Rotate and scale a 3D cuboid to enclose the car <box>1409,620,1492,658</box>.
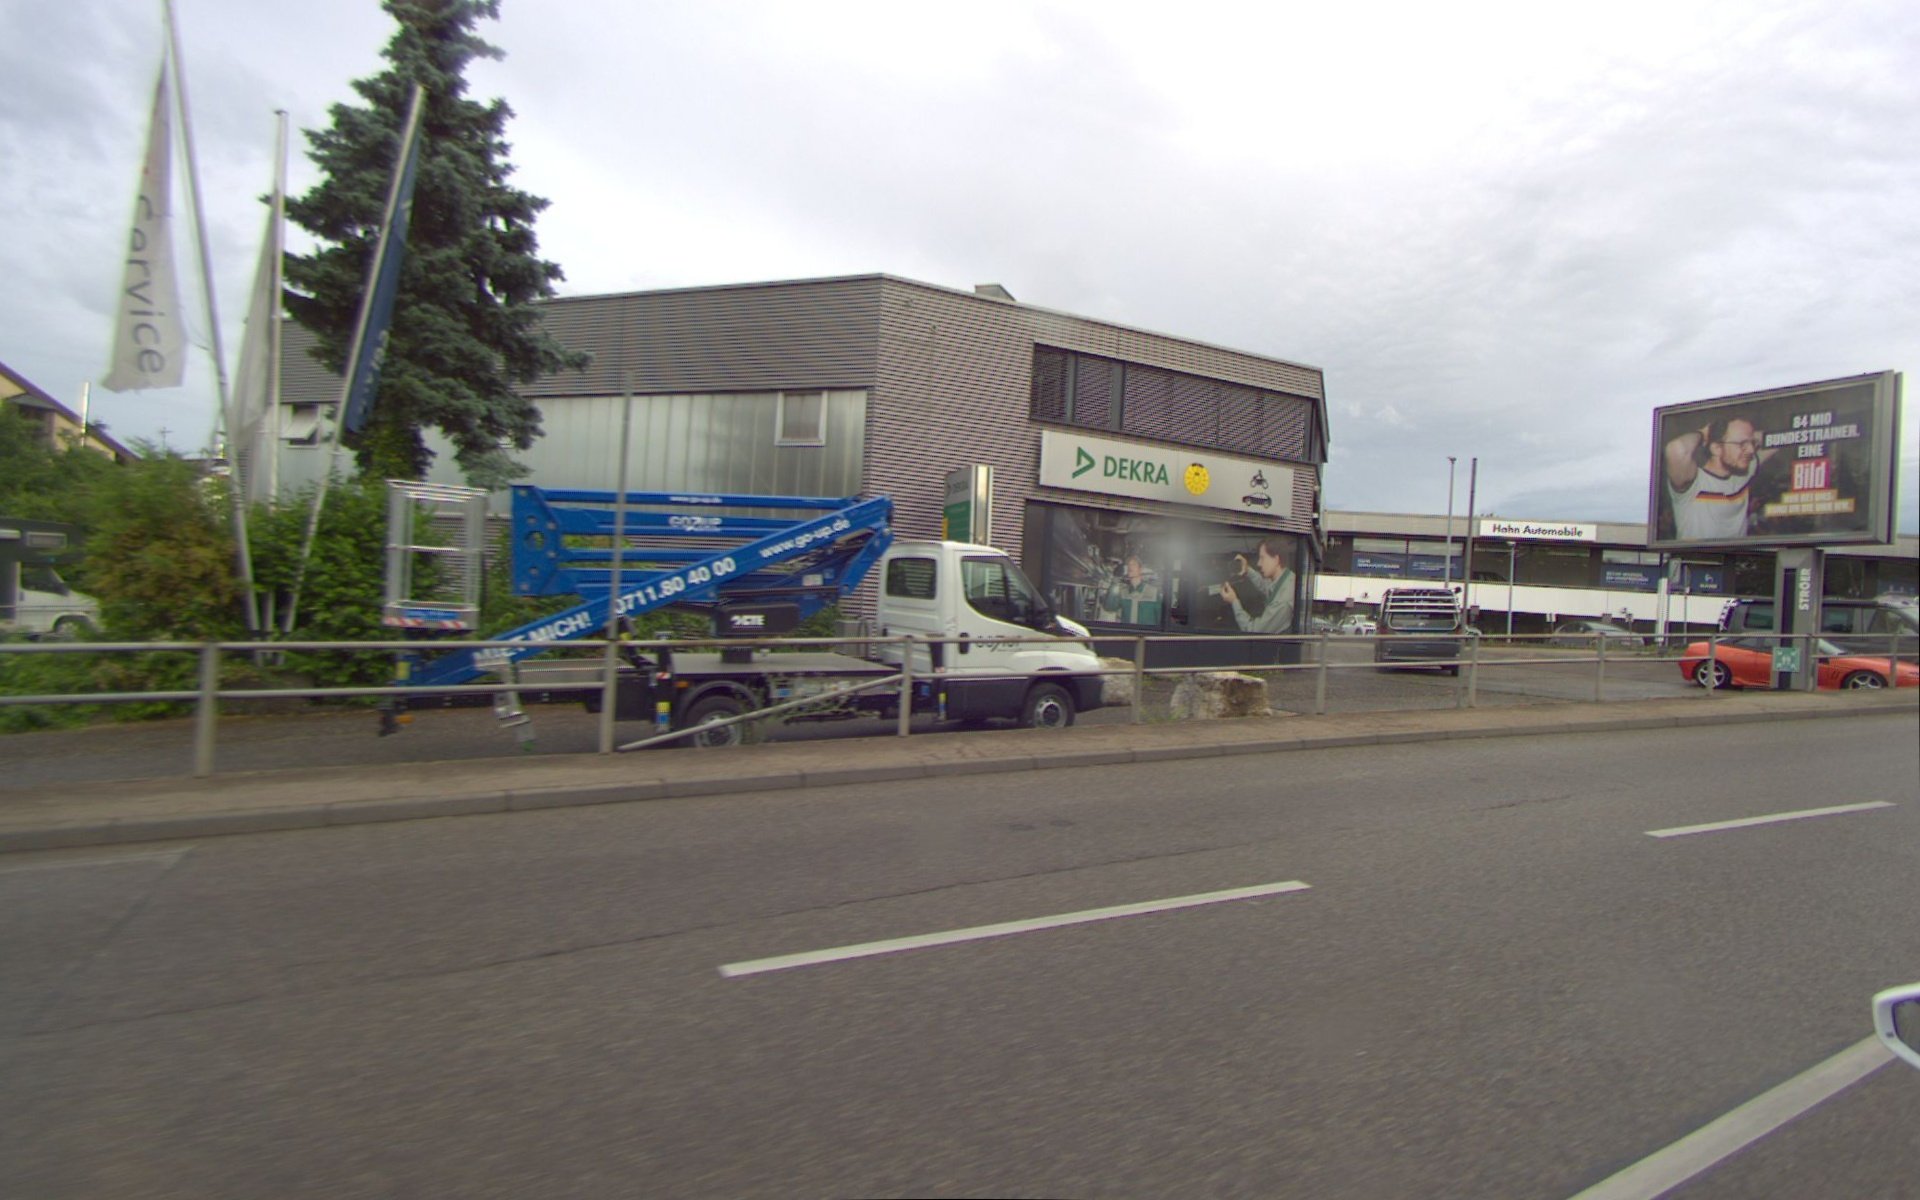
[{"bbox_3d":[21.114,1.664,43.410,1.744,1.447,3.991,1,0,2],"label":"car"}]

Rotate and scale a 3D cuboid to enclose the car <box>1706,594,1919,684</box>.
[{"bbox_3d":[20.362,0.840,22.923,1.802,1.895,5.040,1,0,-31],"label":"car"}]

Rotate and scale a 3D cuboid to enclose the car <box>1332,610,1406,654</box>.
[{"bbox_3d":[18.202,1.374,44.891,1.784,1.812,3.991,1,0,2],"label":"car"}]

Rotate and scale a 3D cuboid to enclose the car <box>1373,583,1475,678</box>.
[{"bbox_3d":[11.213,0.680,24.586,1.961,2.014,4.875,2,0,22],"label":"car"}]

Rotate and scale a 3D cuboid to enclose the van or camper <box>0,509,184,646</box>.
[{"bbox_3d":[-22.365,-0.560,22.162,2.429,2.934,8.114,6,3,22],"label":"van or camper"}]

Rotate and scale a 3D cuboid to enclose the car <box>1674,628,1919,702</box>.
[{"bbox_3d":[17.853,1.299,21.316,1.753,1.284,4.063,1,0,-36],"label":"car"}]

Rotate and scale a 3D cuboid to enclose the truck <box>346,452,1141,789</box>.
[{"bbox_3d":[-1.825,0.162,10.619,7.790,2.668,1.986,0,0,-27],"label":"truck"}]

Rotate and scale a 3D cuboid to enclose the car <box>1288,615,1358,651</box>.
[{"bbox_3d":[16.377,1.443,45.464,1.807,1.447,3.991,1,0,2],"label":"car"}]

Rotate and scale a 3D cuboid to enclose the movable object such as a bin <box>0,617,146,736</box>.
[{"bbox_3d":[-17.304,1.337,17.901,1.631,2.040,4.000,1,-2,21],"label":"movable object such as a bin"}]

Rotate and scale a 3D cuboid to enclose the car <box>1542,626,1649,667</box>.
[{"bbox_3d":[26.006,1.878,41.262,1.852,1.447,4.106,1,0,2],"label":"car"}]
